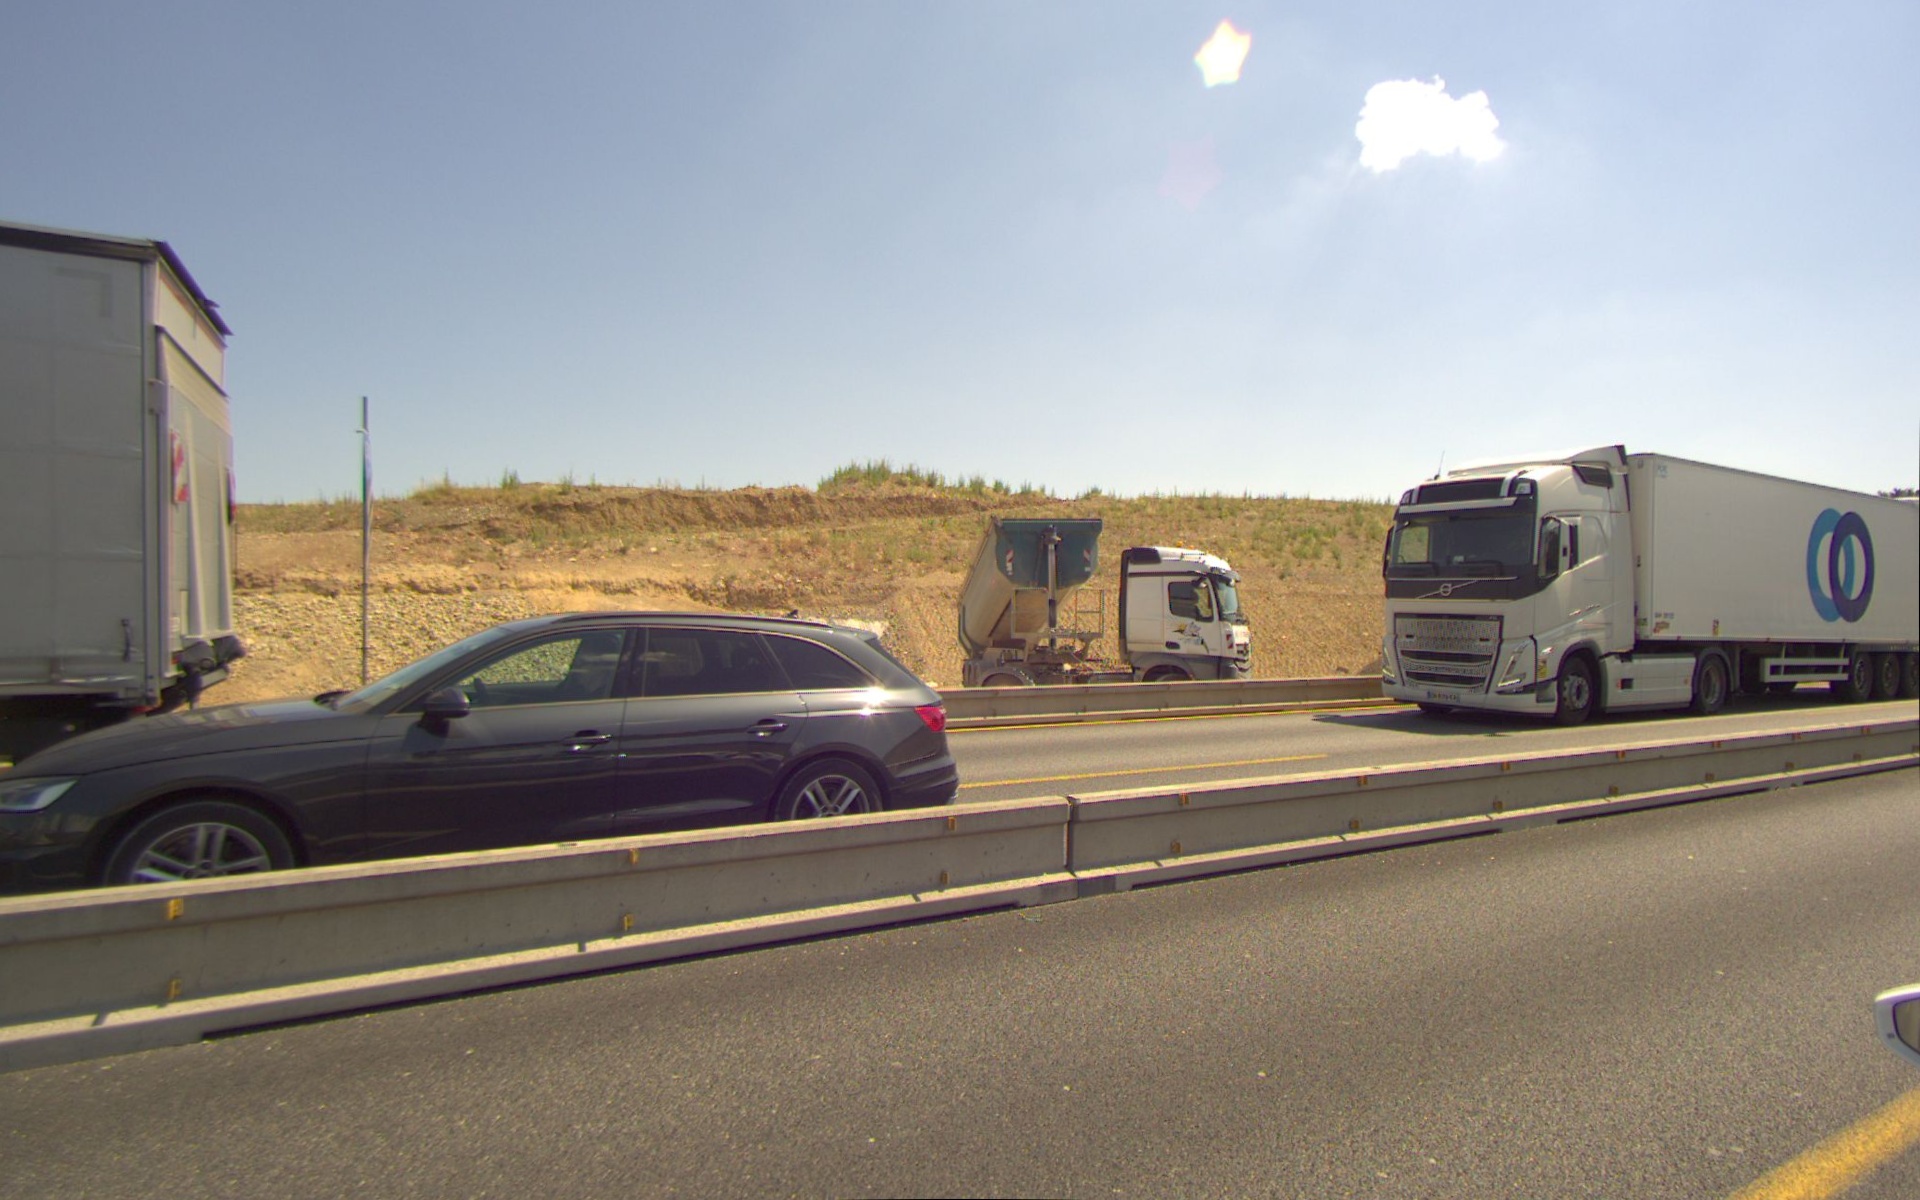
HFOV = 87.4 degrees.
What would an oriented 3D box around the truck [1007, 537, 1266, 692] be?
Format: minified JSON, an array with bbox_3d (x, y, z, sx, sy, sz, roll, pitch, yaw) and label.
[{"bbox_3d":[3.826,0.249,21.711,4.967,3.003,2.585,1,0,25],"label":"truck"}]

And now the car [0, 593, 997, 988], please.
[{"bbox_3d":[-2.163,0.760,5.650,4.449,1.461,1.848,2,0,-31],"label":"car"}]

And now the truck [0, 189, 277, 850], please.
[{"bbox_3d":[-9.272,-0.560,5.050,9.370,3.766,2.632,2,0,-30],"label":"truck"}]

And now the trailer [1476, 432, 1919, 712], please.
[{"bbox_3d":[15.429,-0.226,19.484,13.491,4.147,2.841,2,-2,-30],"label":"trailer"}]

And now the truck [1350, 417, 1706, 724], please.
[{"bbox_3d":[8.902,-0.309,15.760,4.801,4.071,2.836,2,-2,-30],"label":"truck"}]

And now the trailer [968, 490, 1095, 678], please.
[{"bbox_3d":[1.714,-0.341,26.778,2.744,4.152,8.371,1,0,1],"label":"trailer"}]
